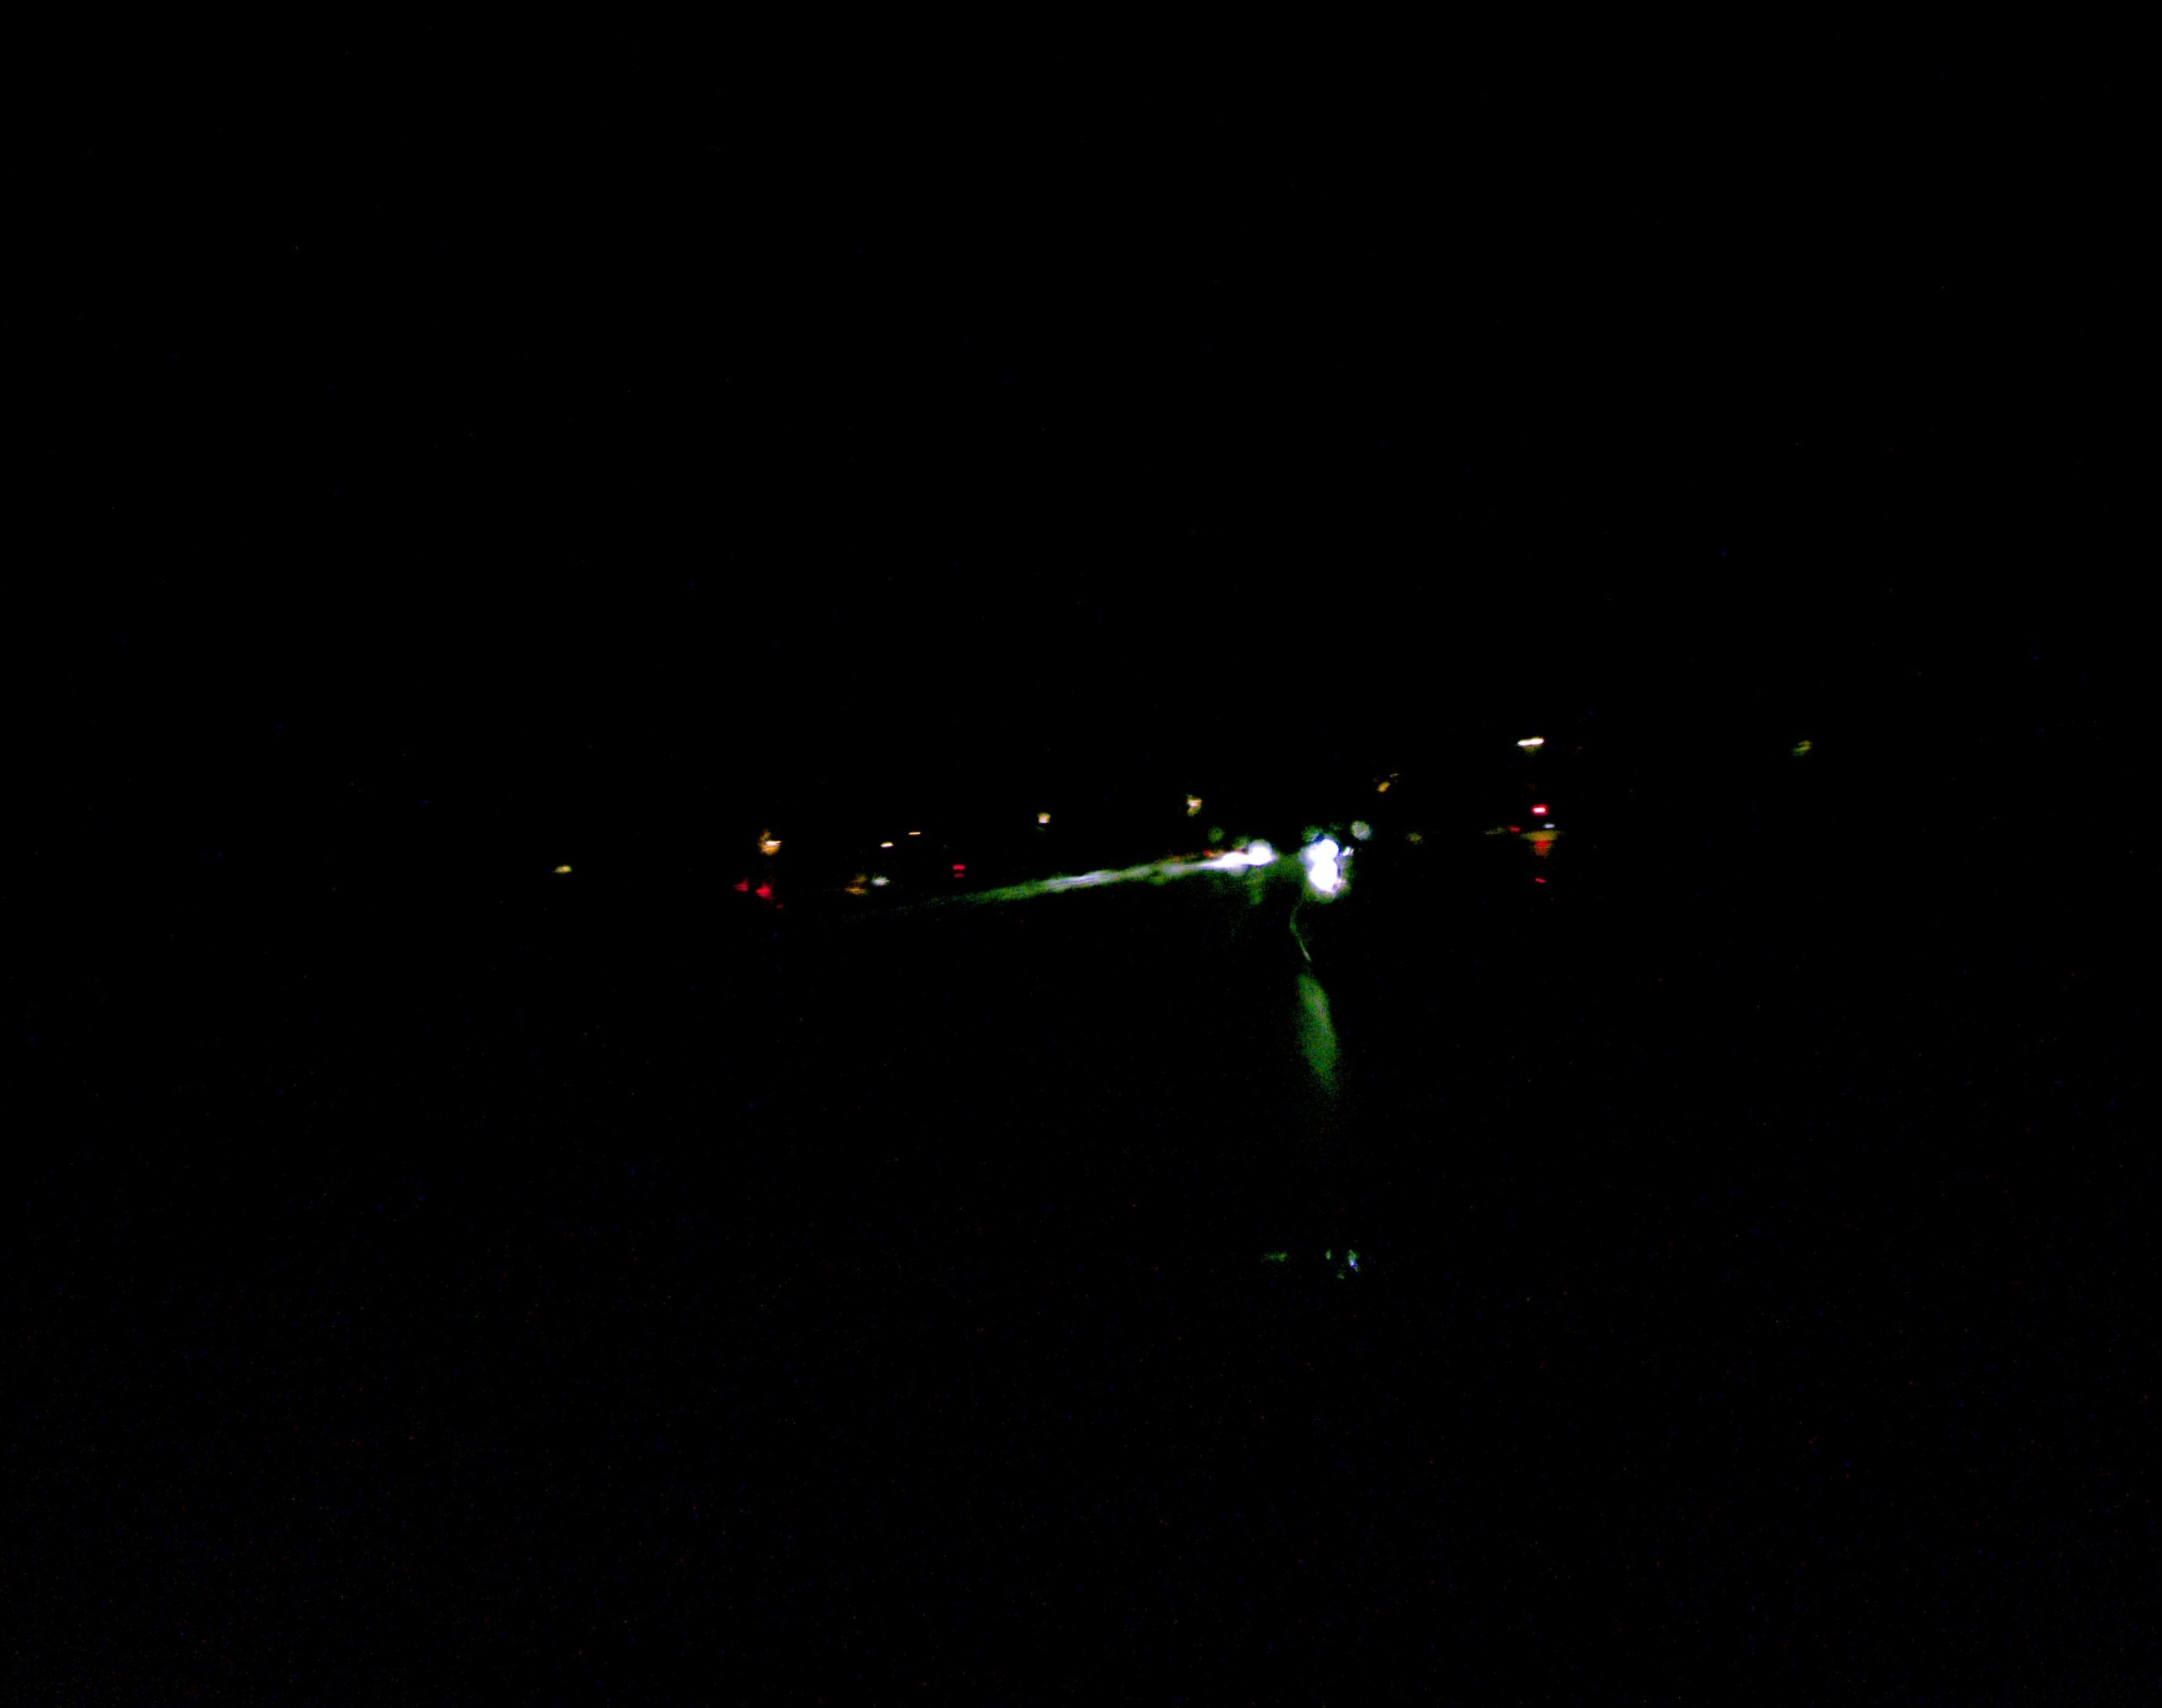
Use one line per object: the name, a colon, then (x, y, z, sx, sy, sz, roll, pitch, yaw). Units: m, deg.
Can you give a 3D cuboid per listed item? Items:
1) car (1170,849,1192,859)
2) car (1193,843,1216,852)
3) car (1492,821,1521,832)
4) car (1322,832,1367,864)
car: (18.841, -0.035, 143.264, 3.994, 1.432, 1.720, -5, 0, 13)
car: (22.636, -1.174, 139.657, 3.994, 1.432, 1.720, -5, -1, 11)
car: (74.135, -4.741, 132.279, 3.993, 1.432, 1.721, -5, -2, 13)
car: (16.627, -0.415, 47.838, 1.995, 1.737, 4.106, -4, 0, 28)
